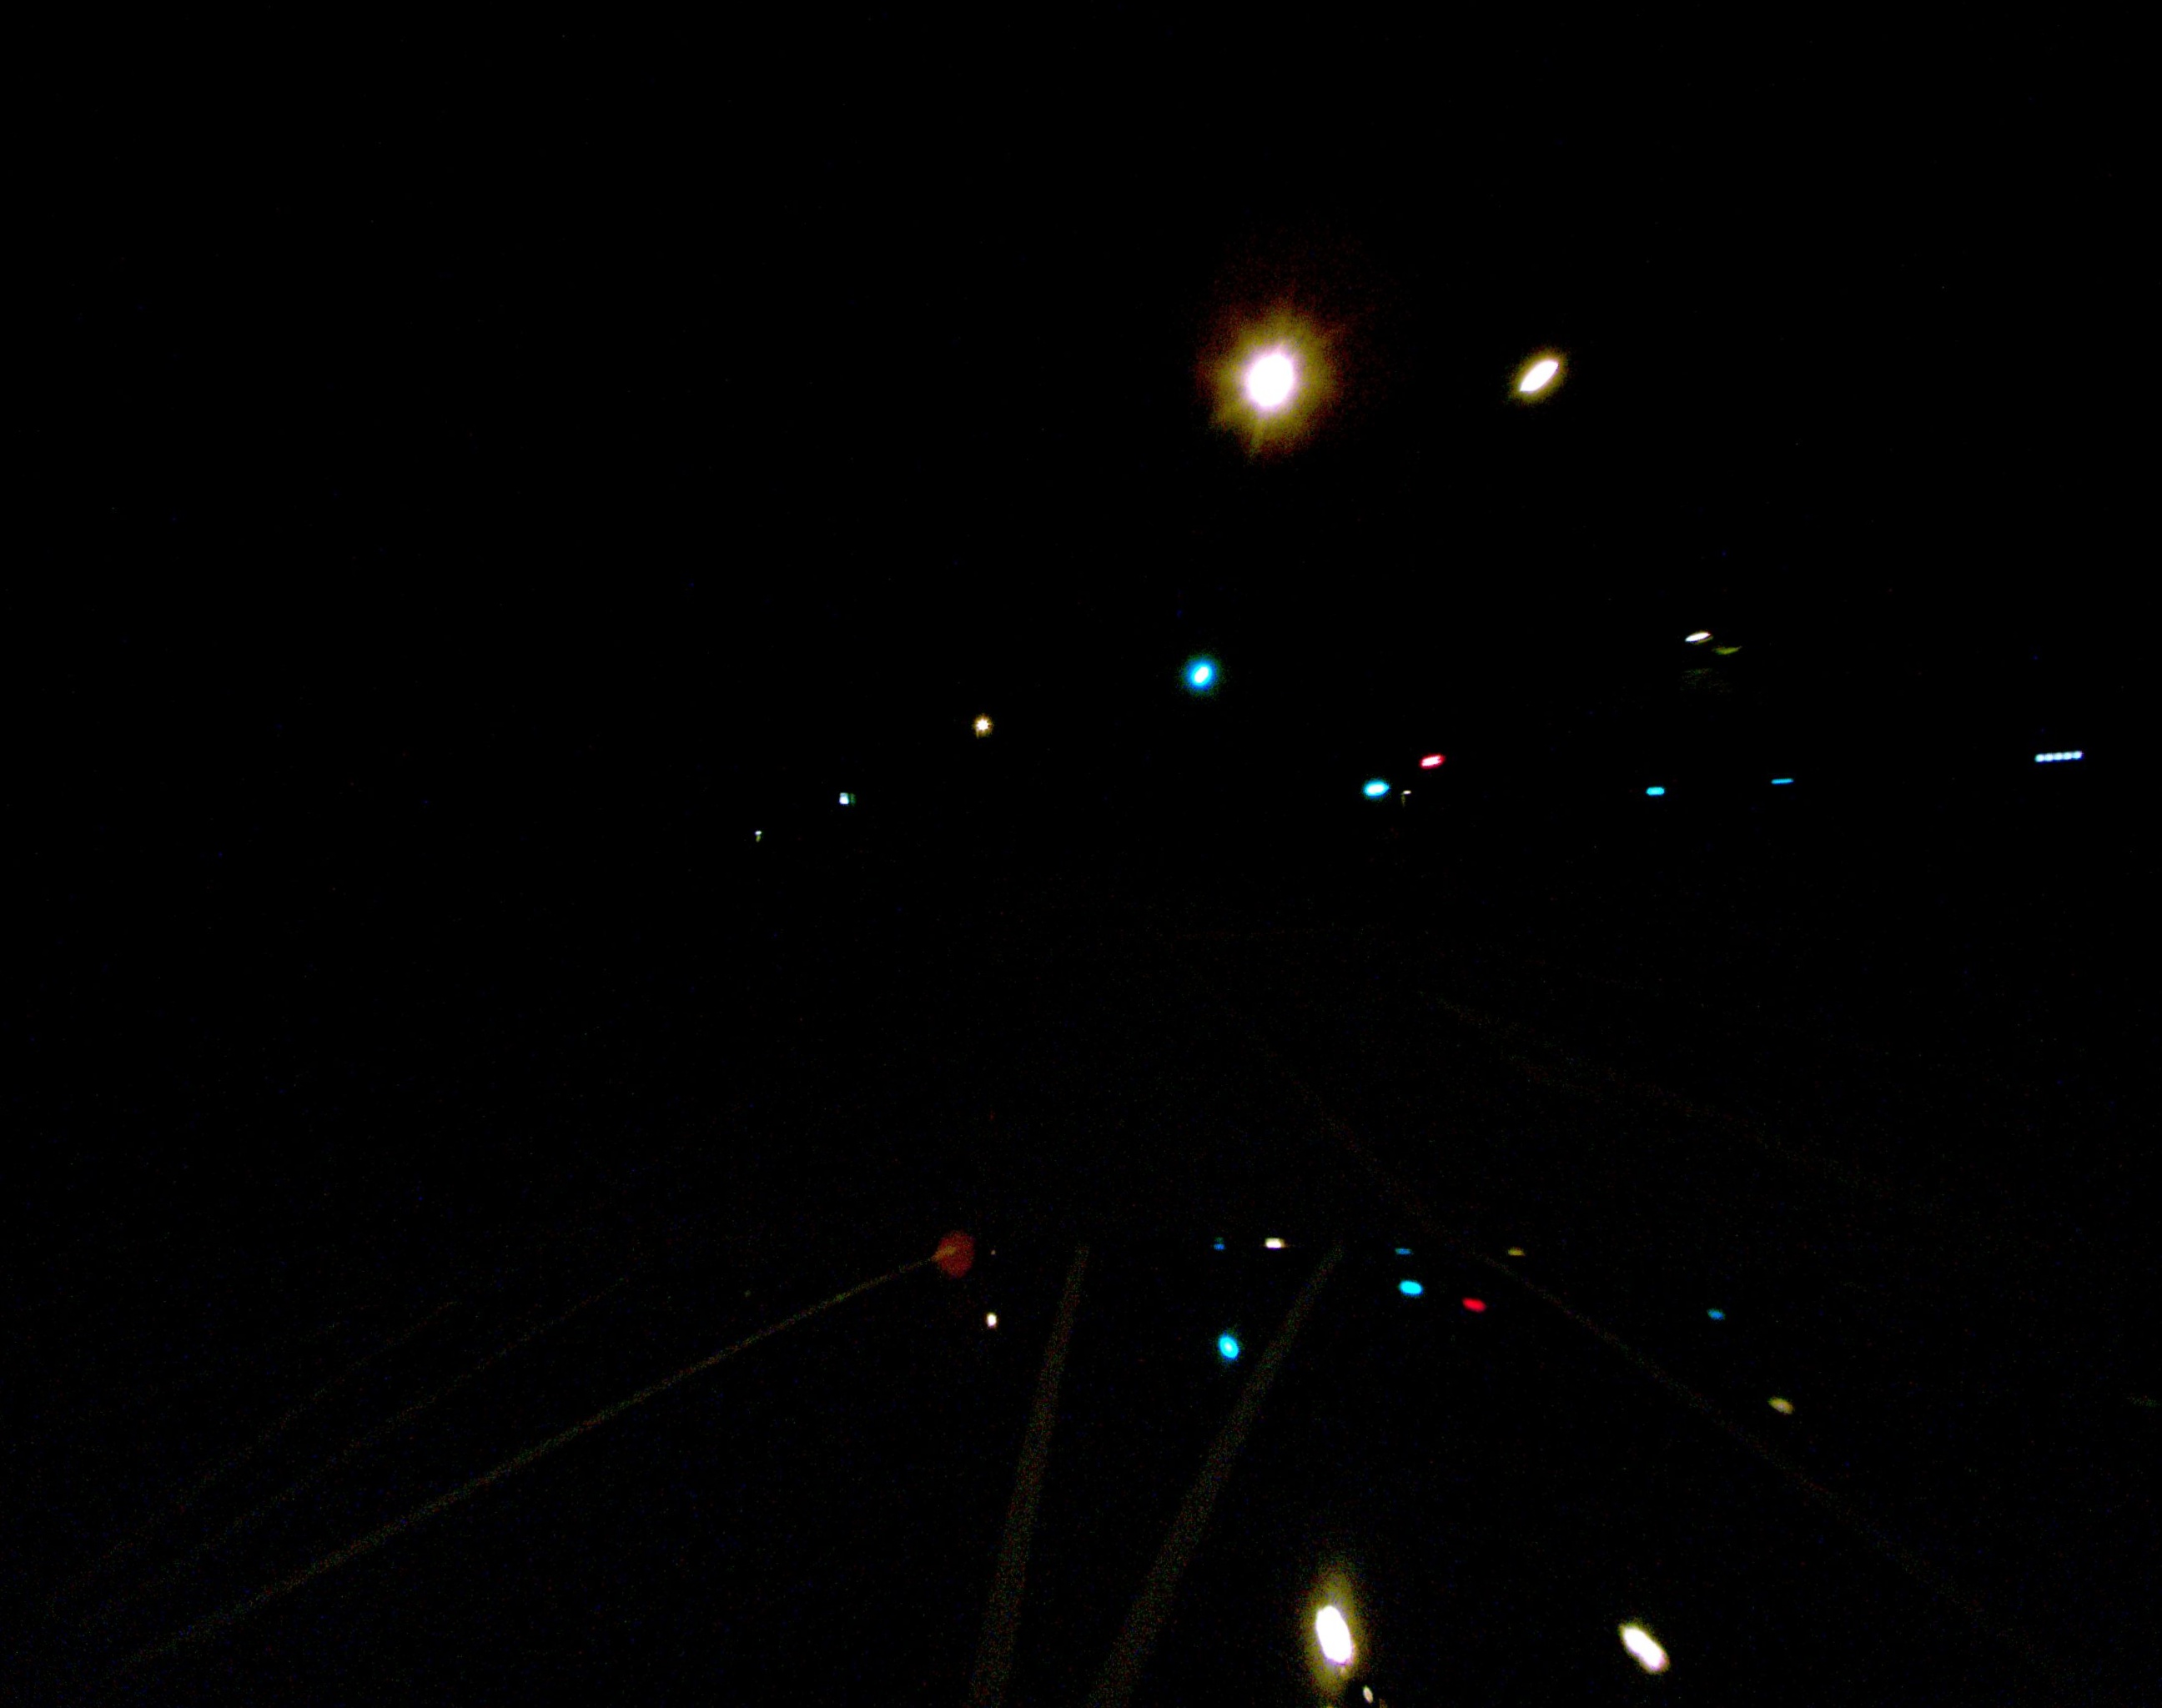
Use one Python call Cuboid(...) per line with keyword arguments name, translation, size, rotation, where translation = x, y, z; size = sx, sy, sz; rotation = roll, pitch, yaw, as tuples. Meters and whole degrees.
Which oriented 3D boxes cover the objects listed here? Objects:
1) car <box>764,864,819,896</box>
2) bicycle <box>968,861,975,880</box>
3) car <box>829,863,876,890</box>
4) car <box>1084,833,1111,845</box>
Cuboid(name="car", translation=(-16.657, 1.482, 43.623), size=(1.926, 1.556, 4.402), rotation=(-5, 1, -33))
Cuboid(name="bicycle", translation=(-6.376, 0.938, 44.331), size=(0.296, 0.977, 1.942), rotation=(-4, 4, -9))
Cuboid(name="car", translation=(-13.986, 1.376, 46.390), size=(1.710, 1.496, 3.584), rotation=(-5, 1, -33))
Cuboid(name="car", translation=(2.697, -2.431, 123.479), size=(4.004, 1.600, 1.752), rotation=(-6, 4, -30))
